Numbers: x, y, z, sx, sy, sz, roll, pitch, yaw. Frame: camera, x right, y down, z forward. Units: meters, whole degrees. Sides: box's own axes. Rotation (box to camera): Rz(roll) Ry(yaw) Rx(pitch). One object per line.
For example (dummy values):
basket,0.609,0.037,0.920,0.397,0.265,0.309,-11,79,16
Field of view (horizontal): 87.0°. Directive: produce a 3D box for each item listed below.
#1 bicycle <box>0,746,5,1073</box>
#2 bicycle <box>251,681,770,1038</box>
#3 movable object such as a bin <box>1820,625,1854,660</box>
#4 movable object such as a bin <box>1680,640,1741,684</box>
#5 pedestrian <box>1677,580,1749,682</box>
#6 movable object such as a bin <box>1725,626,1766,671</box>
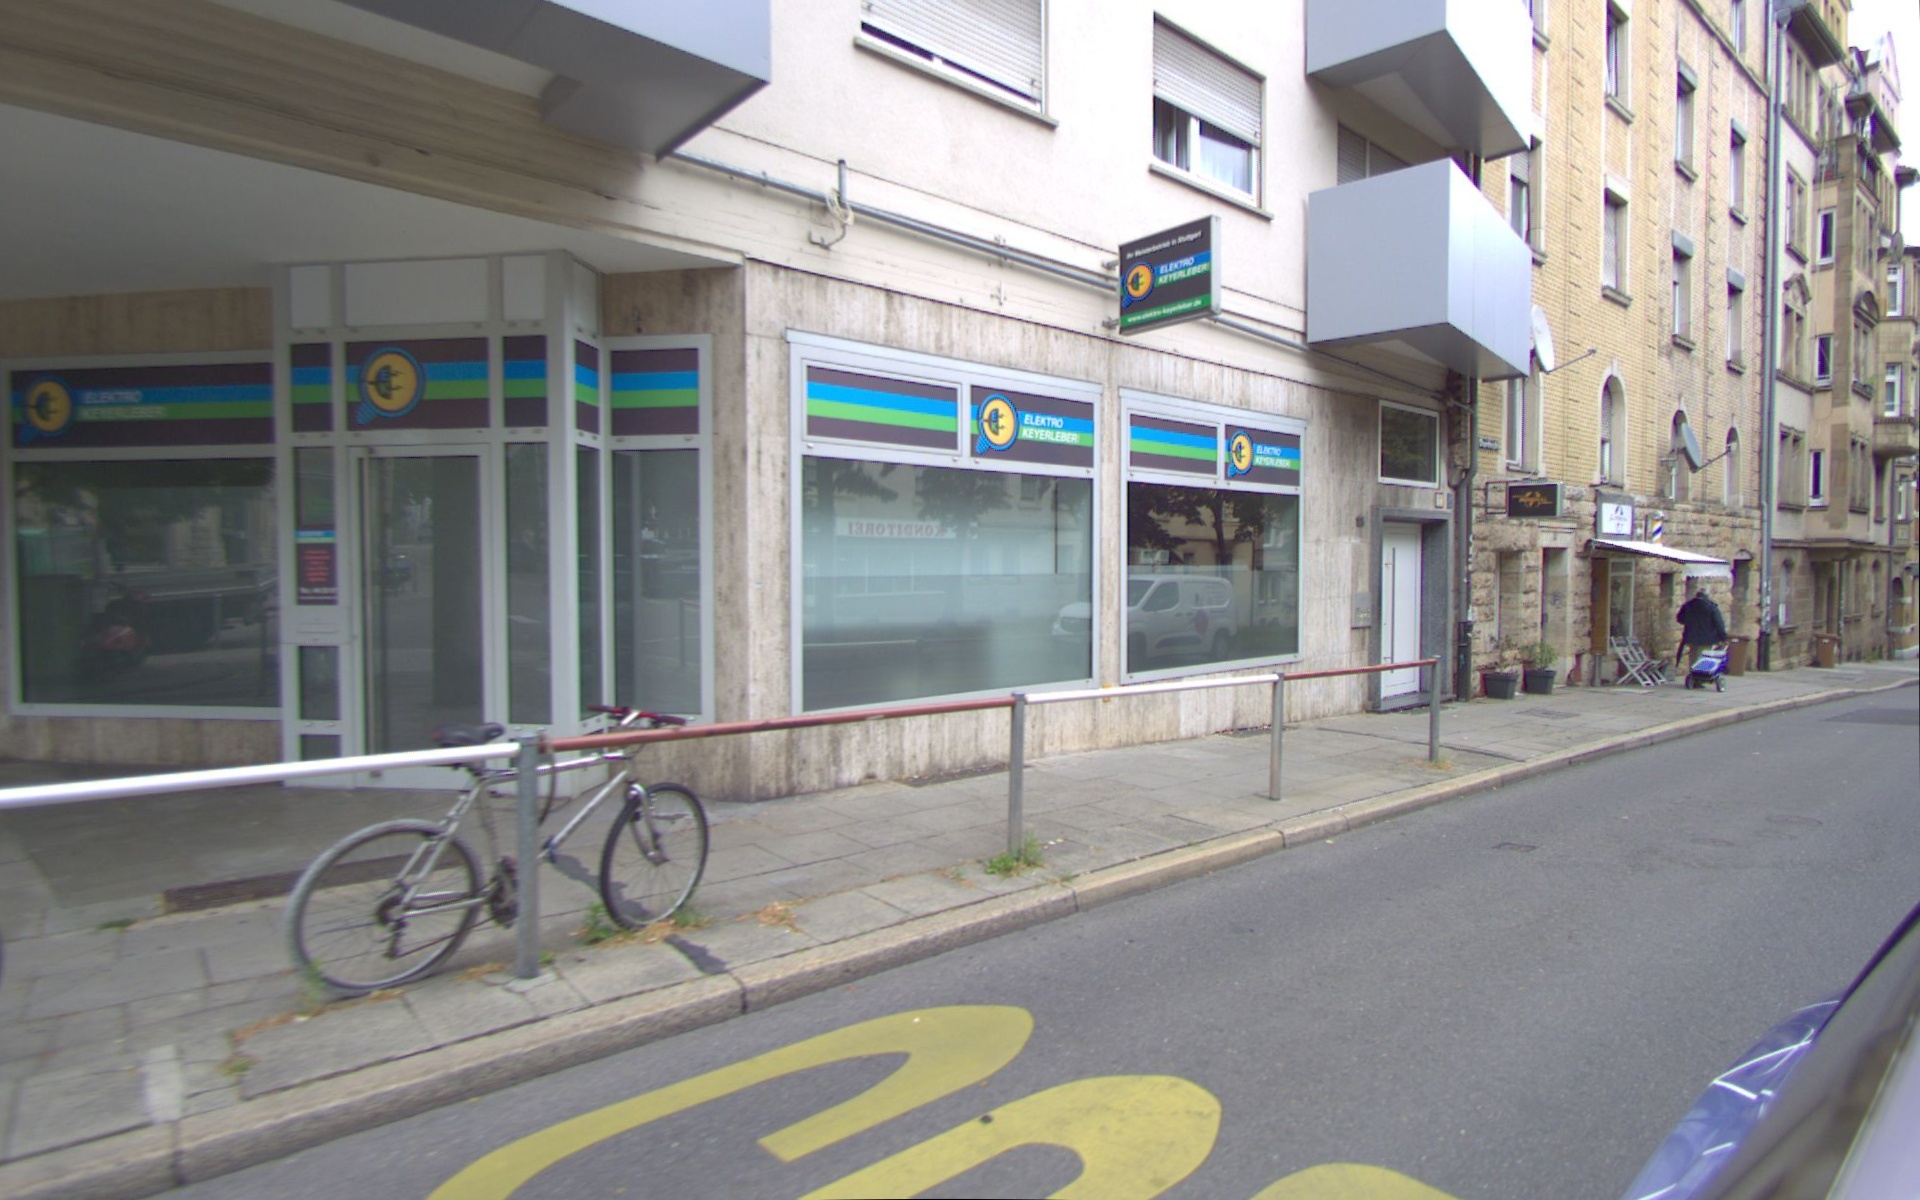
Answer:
bicycle,-3.408,0.913,2.331,0.285,0.943,1.738,0,1,36
bicycle,-1.640,0.862,3.900,1.744,0.943,0.570,-1,1,-41
movable object such as a bin,23.729,1.154,27.384,0.552,0.915,0.596,1,0,-38
movable object such as a bin,12.714,1.039,17.140,0.843,0.677,0.609,2,2,-39
pedestrian,13.269,0.527,17.842,0.843,1.713,0.753,2,2,-39
movable object such as a bin,17.192,1.048,22.153,0.494,0.915,0.596,-3,2,-38
